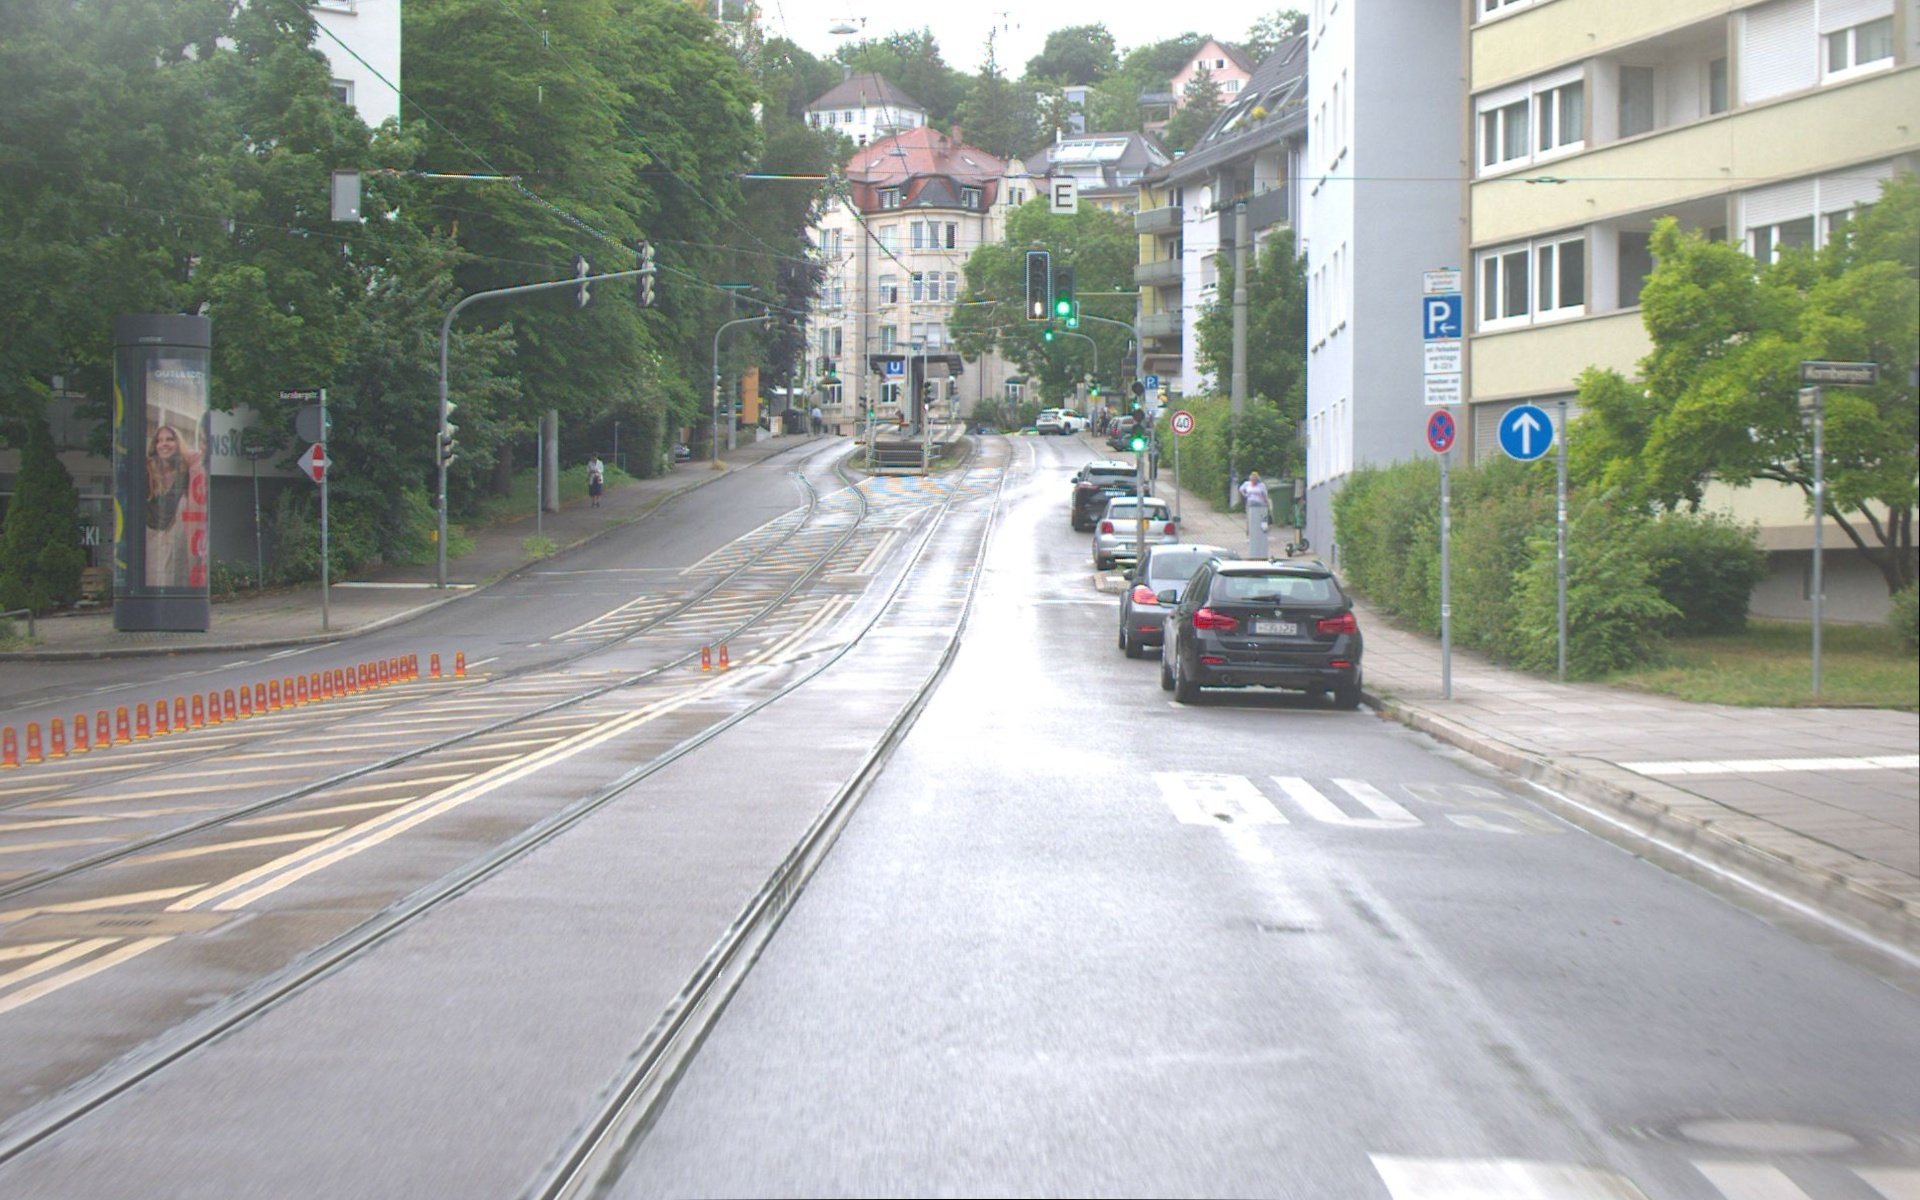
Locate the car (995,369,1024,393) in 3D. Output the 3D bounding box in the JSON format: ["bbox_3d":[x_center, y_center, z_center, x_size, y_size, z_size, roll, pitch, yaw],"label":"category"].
[{"bbox_3d":[3.466,-15.373,241.287,1.906,1.636,4.690,2,4,0],"label":"car"}]

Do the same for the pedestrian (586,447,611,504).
[{"bbox_3d":[-10.375,-3.574,98.671,0.583,1.594,0.869,3,3,-3],"label":"pedestrian"}]

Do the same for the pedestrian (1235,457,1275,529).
[{"bbox_3d":[6.734,-2.450,78.516,0.882,1.577,0.801,-1,5,3],"label":"pedestrian"}]

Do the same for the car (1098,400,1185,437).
[{"bbox_3d":[8.622,-8.634,163.574,3.987,1.640,1.808,1,2,1],"label":"car"}]

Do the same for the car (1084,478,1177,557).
[{"bbox_3d":[3.505,-1.730,71.272,1.704,1.428,4.102,2,4,0],"label":"car"}]

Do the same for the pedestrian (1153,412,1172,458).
[{"bbox_3d":[7.127,-5.811,121.065,0.644,1.623,0.699,1,2,4],"label":"pedestrian"}]

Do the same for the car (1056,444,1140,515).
[{"bbox_3d":[3.479,-3.083,87.388,1.906,1.636,4.690,2,4,0],"label":"car"}]

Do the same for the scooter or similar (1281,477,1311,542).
[{"bbox_3d":[7.020,-1.895,71.725,0.575,1.245,1.610,1,6,6],"label":"scooter or similar"}]

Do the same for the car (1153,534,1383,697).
[{"bbox_3d":[3.031,0.103,34.674,1.858,1.482,4.645,1,1,0],"label":"car"}]

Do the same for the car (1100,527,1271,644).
[{"bbox_3d":[2.999,-0.227,46.455,1.939,1.459,4.207,1,1,-1],"label":"car"}]

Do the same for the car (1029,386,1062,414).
[{"bbox_3d":[5.228,-12.294,211.046,1.906,1.636,4.690,2,4,0],"label":"car"}]
